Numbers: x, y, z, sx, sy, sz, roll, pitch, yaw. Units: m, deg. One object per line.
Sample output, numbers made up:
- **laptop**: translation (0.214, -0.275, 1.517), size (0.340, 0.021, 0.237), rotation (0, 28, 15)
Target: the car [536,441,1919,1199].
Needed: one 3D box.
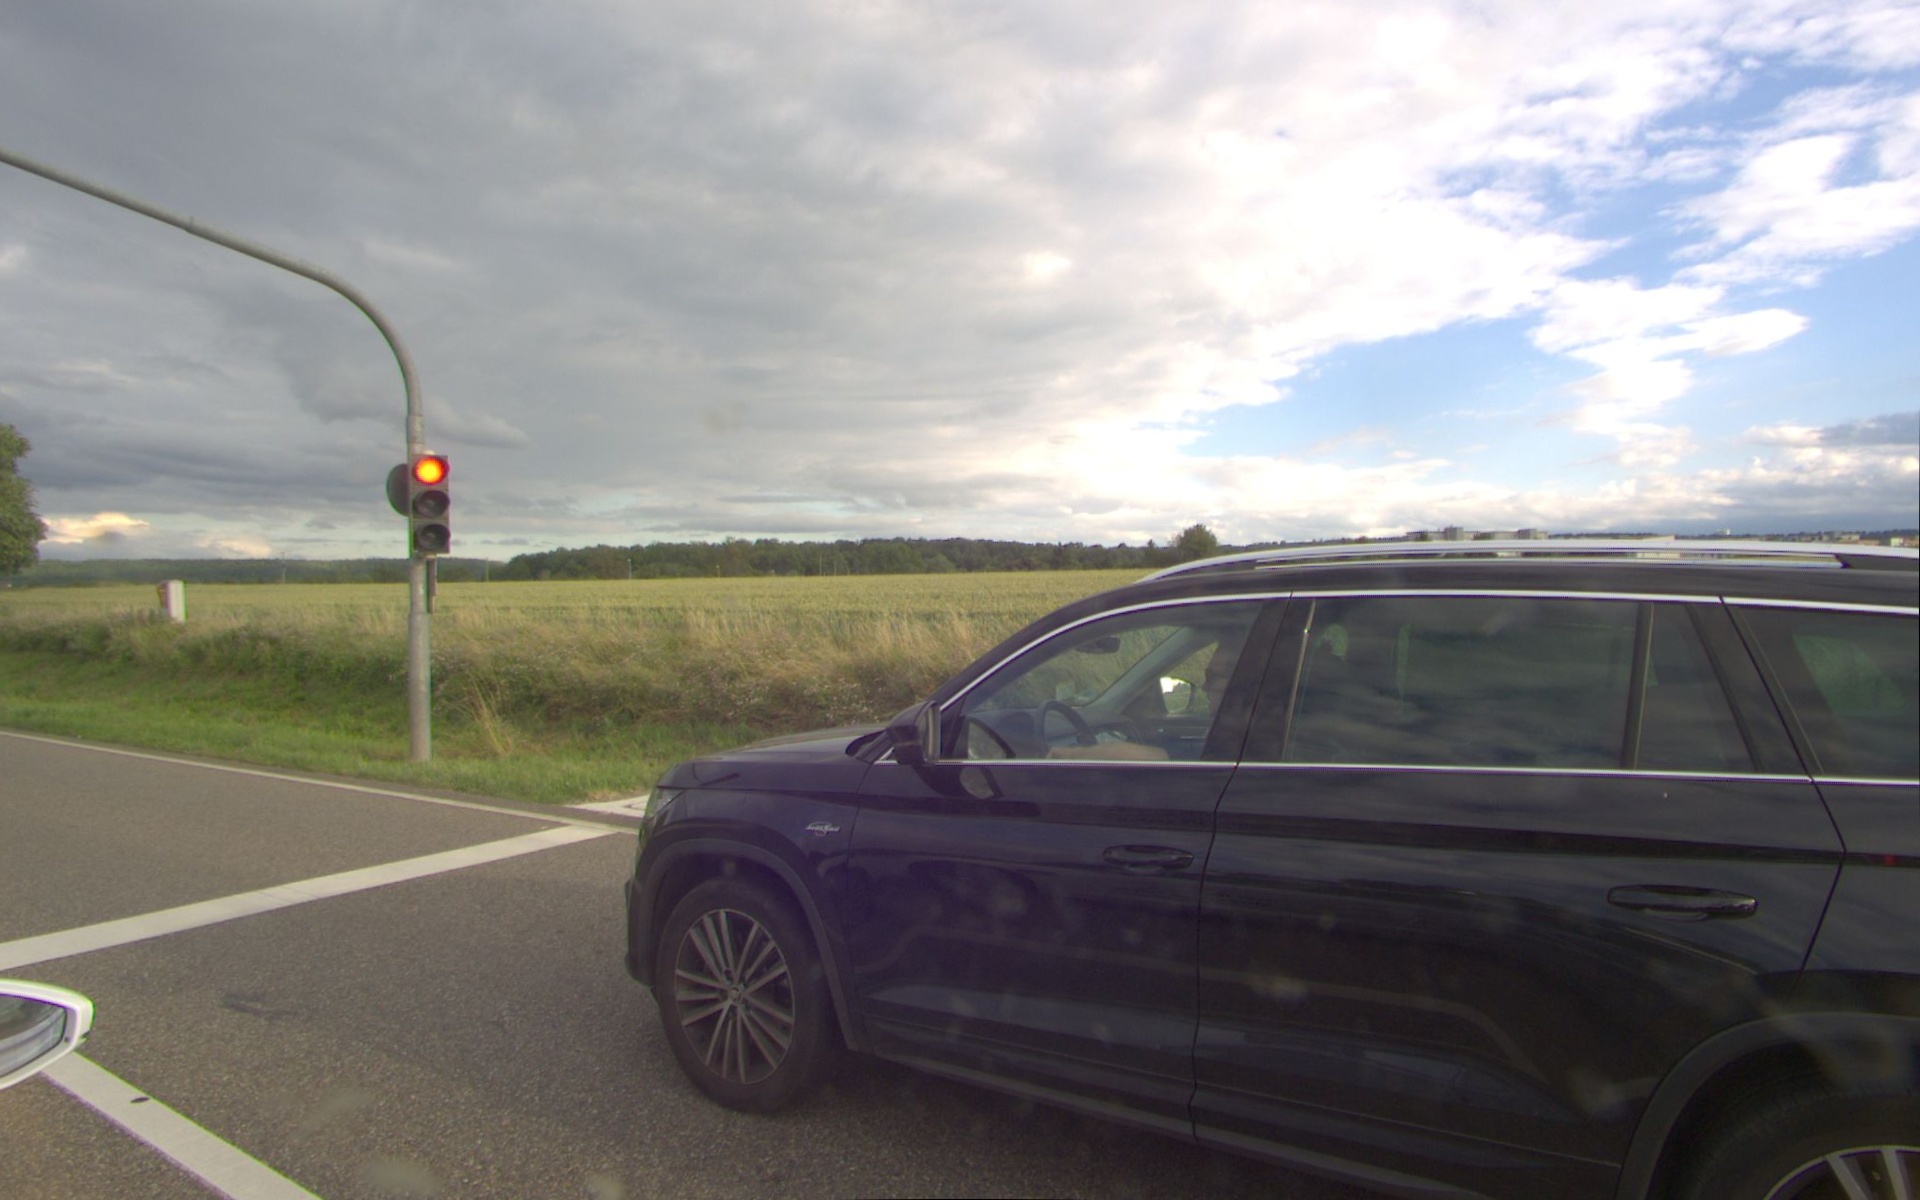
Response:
- **car**: translation (0.886, 0.671, 3.093), size (4.492, 1.730, 1.833), rotation (-1, -2, 32)
